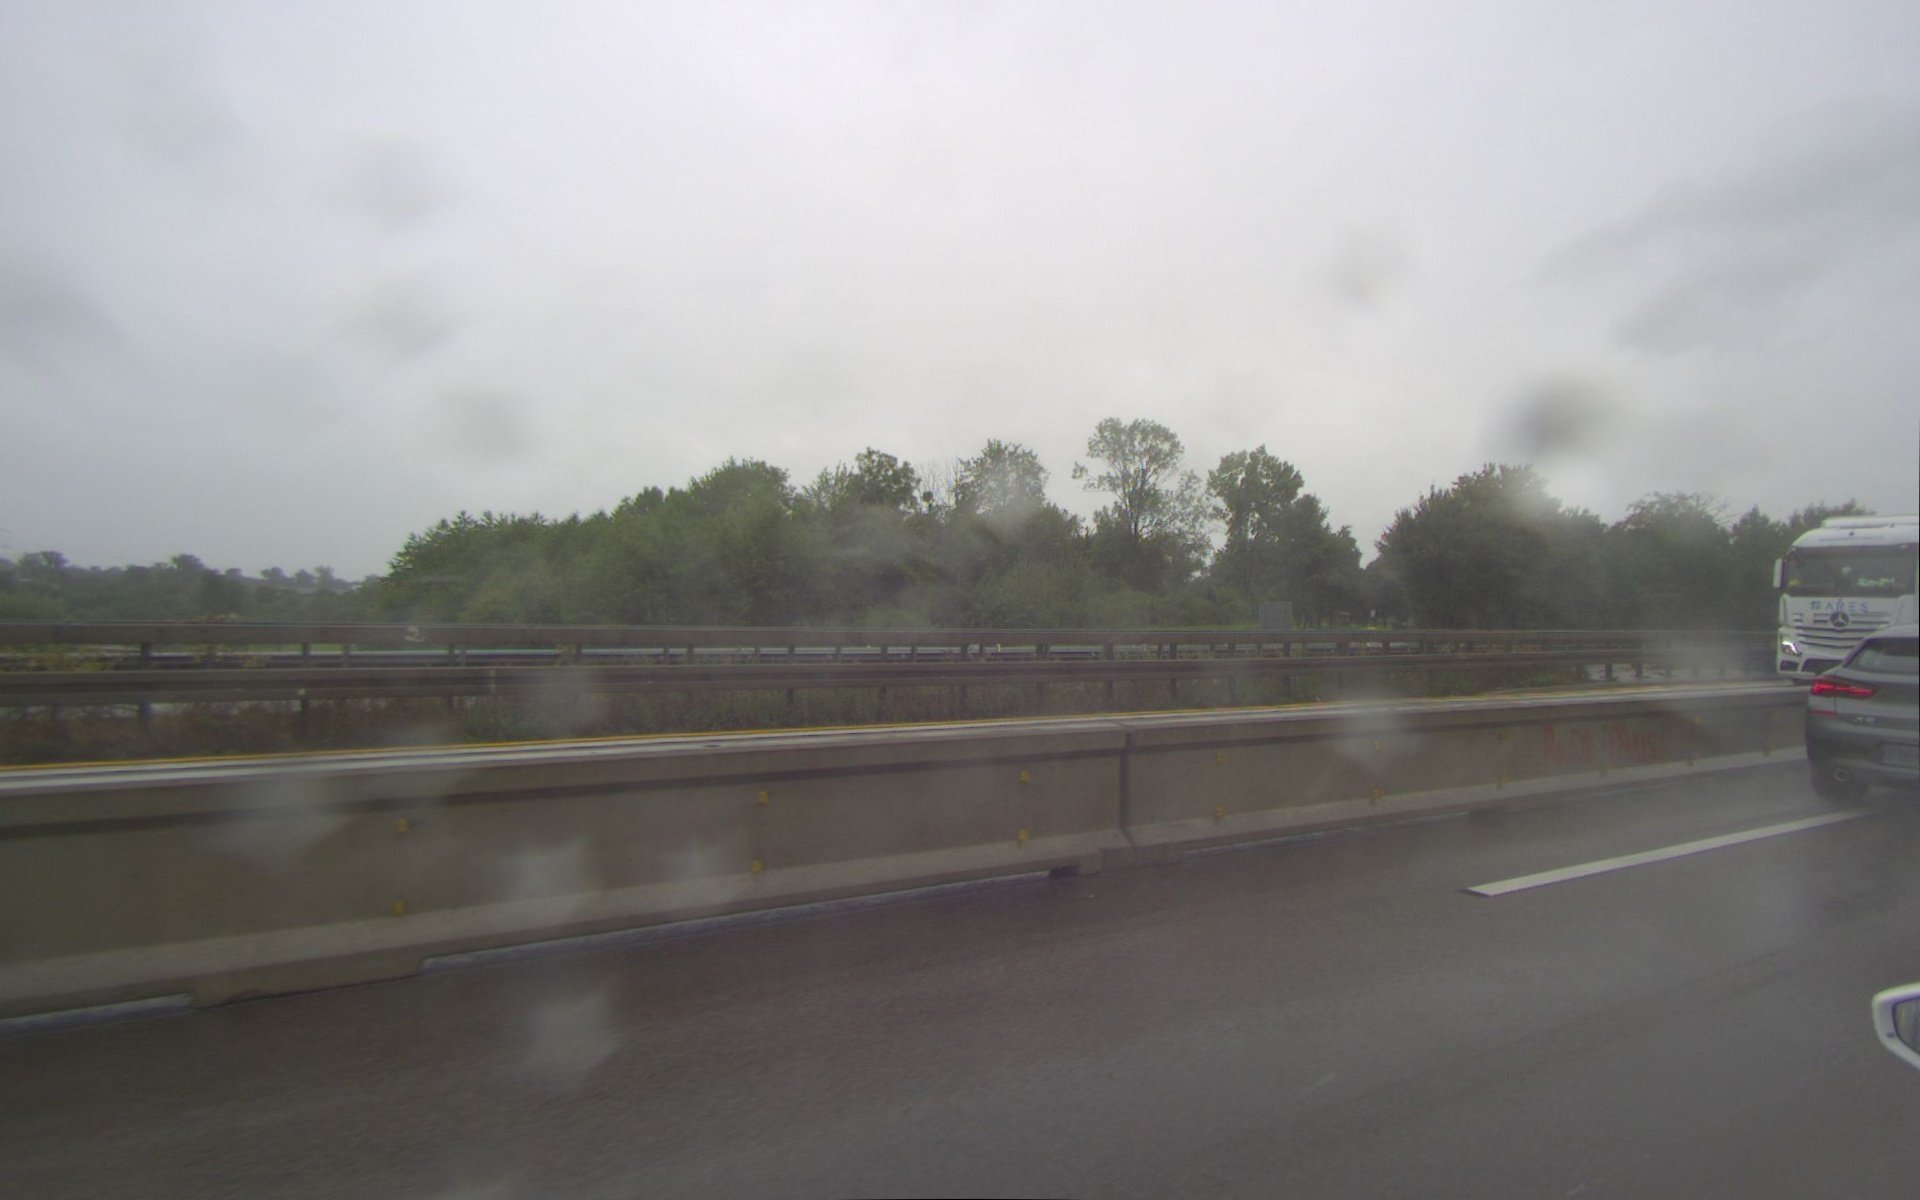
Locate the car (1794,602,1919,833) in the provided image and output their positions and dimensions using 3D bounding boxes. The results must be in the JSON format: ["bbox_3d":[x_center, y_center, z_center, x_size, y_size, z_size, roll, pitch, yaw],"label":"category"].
[{"bbox_3d":[8.885,0.921,8.219,4.790,1.619,1.692,3,-1,-31],"label":"car"}]

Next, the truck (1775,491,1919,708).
[{"bbox_3d":[22.311,0.096,23.683,6.801,4.522,2.490,2,0,-30],"label":"truck"}]

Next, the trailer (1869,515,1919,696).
[{"bbox_3d":[28.738,0.327,27.475,11.064,4.502,2.473,2,0,-30],"label":"trailer"}]
